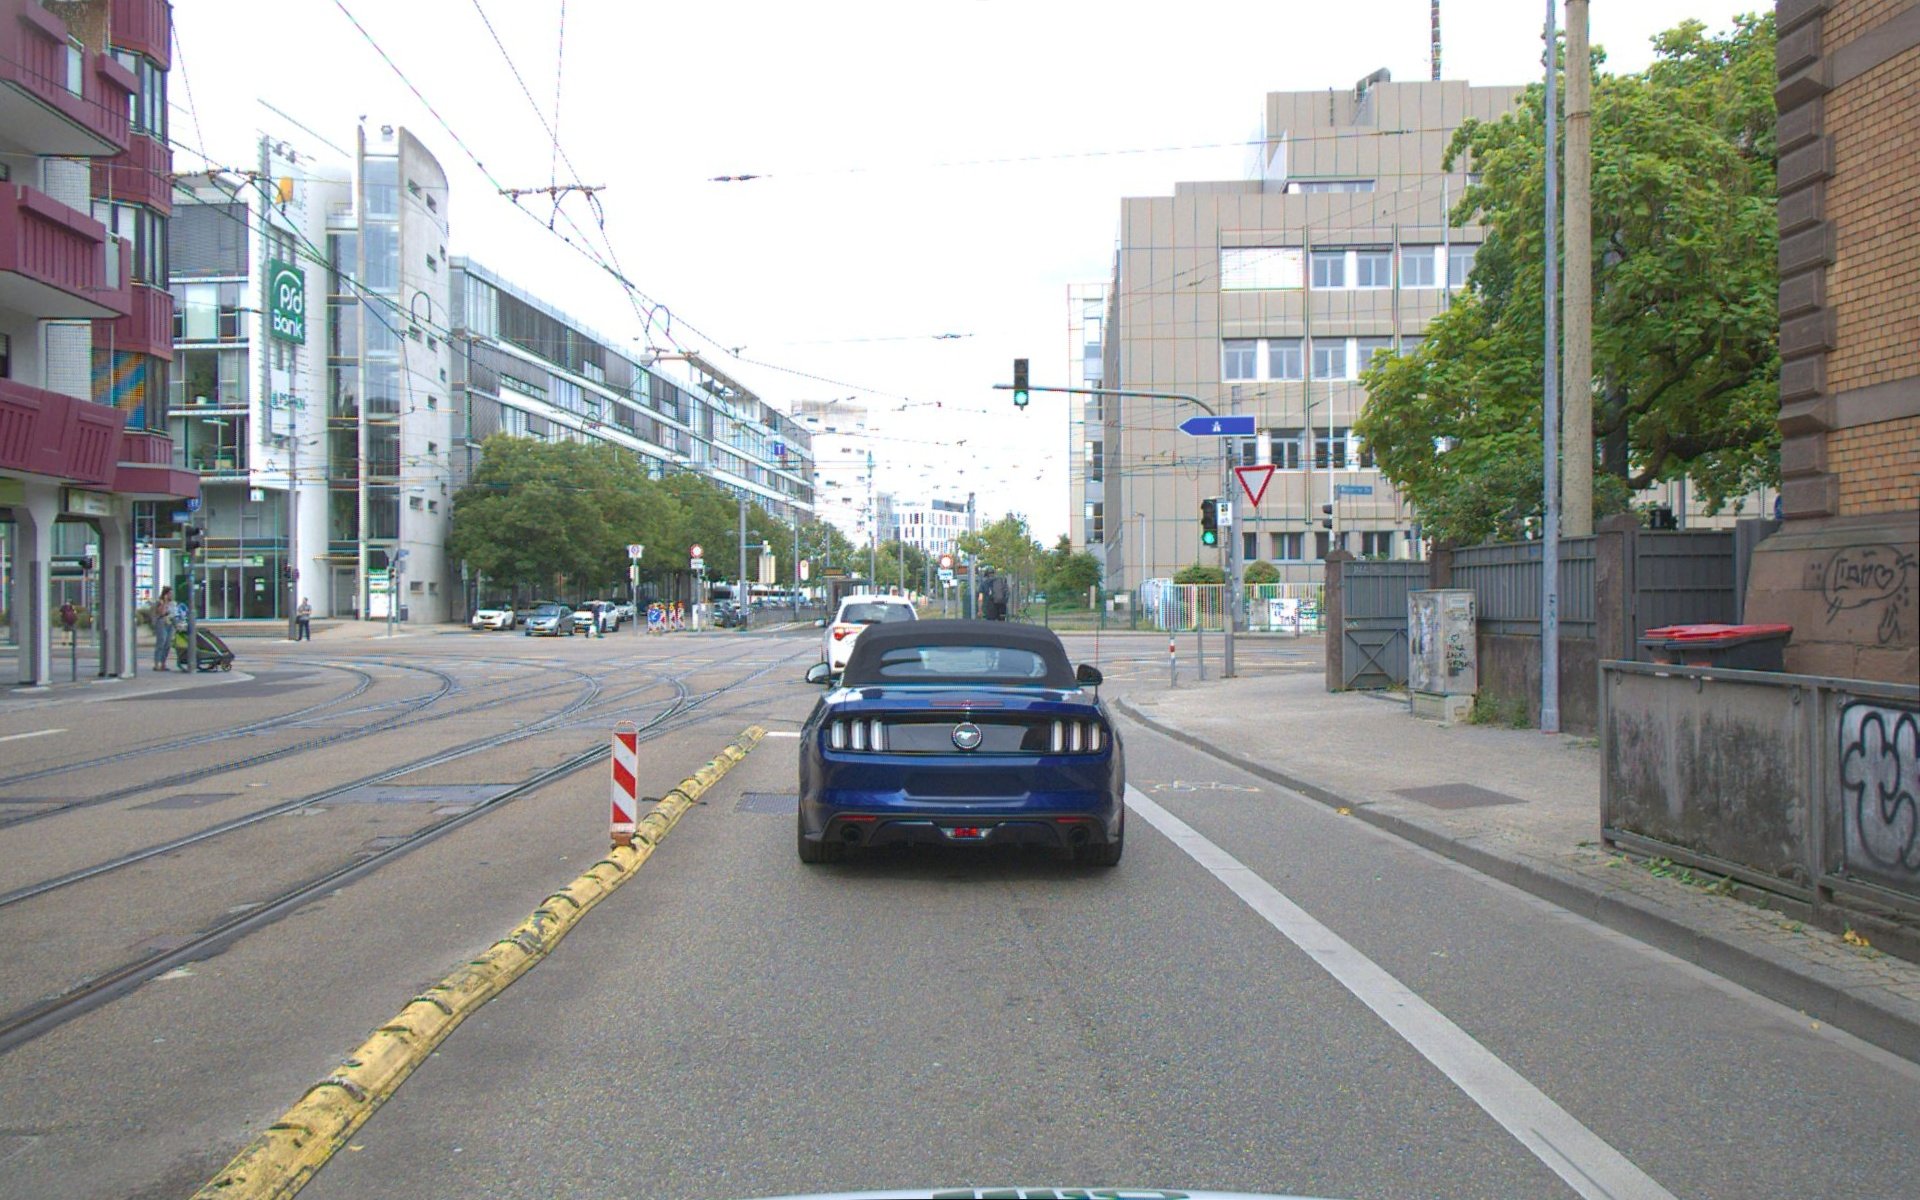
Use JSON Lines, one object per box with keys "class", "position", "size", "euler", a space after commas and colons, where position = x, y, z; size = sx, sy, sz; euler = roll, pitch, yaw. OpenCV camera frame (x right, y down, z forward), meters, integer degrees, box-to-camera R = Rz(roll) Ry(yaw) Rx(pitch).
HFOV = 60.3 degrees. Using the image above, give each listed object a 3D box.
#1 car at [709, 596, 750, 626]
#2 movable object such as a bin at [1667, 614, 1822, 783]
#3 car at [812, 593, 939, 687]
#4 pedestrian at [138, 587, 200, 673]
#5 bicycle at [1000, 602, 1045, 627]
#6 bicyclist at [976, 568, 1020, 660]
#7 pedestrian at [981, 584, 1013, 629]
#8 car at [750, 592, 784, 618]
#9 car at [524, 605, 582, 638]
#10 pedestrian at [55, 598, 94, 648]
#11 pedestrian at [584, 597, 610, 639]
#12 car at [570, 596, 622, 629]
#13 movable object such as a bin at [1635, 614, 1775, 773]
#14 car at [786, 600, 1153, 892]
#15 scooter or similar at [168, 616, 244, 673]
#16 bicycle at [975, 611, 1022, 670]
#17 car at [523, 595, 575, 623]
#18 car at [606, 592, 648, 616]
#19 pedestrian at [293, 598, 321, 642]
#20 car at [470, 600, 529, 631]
{"class": "car", "position": [-13.464, 0.642, 96.663], "size": [1.841, 1.657, 4.086], "euler": [-1, 0, -1]}
{"class": "movable object such as a bin", "position": [5.491, 0.670, 11.606], "size": [0.650, 1.101, 0.700], "euler": [-4, 0, -6]}
{"class": "car", "position": [-1.526, 0.630, 28.370], "size": [1.801, 1.464, 4.180], "euler": [-1, 0, -8]}
{"class": "pedestrian", "position": [-16.508, 0.620, 34.542], "size": [0.929, 1.774, 0.811], "euler": [0, 0, -4]}
{"class": "bicycle", "position": [2.727, 0.643, 72.350], "size": [0.629, 0.998, 2.125], "euler": [-1, -2, -42]}
{"class": "bicyclist", "position": [0.749, 0.267, 33.258], "size": [0.780, 1.817, 1.232], "euler": [-1, 0, -3]}
{"class": "pedestrian", "position": [1.619, 0.297, 71.939], "size": [1.066, 1.931, 0.900], "euler": [-1, 0, 31]}
{"class": "car", "position": [-12.848, 0.329, 110.265], "size": [1.830, 1.634, 4.212], "euler": [-1, 0, -1]}
{"class": "car", "position": [-20.237, 1.051, 82.417], "size": [1.633, 1.533, 4.236], "euler": [2, 0, 3]}
{"class": "pedestrian", "position": [-30.639, 0.801, 57.240], "size": [0.915, 1.700, 0.766], "euler": [-1, 0, 11]}
{"class": "pedestrian", "position": [-16.713, 0.833, 76.160], "size": [0.968, 1.888, 0.902], "euler": [-1, 0, 1]}
{"class": "car", "position": [-19.821, 0.649, 90.203], "size": [1.679, 1.689, 4.135], "euler": [2, 0, 3]}
{"class": "movable object such as a bin", "position": [5.539, 0.679, 12.323], "size": [0.638, 1.101, 0.677], "euler": [-4, 0, -6]}
{"class": "car", "position": [0.031, 0.741, 10.535], "size": [1.838, 1.428, 4.282], "euler": [1, 0, -1]}
{"class": "scooter or similar", "position": [-15.777, 0.930, 34.622], "size": [1.172, 1.148, 0.946], "euler": [0, 0, -3]}
{"class": "bicycle", "position": [0.762, 0.795, 33.285], "size": [0.784, 1.105, 2.130], "euler": [-1, 0, -3]}
{"class": "car", "position": [-24.165, 0.502, 97.319], "size": [1.791, 1.584, 4.218], "euler": [2, 0, 3]}
{"class": "car", "position": [-23.235, 0.281, 115.669], "size": [1.945, 1.584, 4.513], "euler": [2, 0, 0]}
{"class": "pedestrian", "position": [-28.183, 0.852, 71.390], "size": [0.816, 1.897, 0.766], "euler": [-1, 0, 11]}
{"class": "car", "position": [-25.045, 0.812, 90.086], "size": [1.791, 1.584, 4.218], "euler": [2, 0, 3]}
